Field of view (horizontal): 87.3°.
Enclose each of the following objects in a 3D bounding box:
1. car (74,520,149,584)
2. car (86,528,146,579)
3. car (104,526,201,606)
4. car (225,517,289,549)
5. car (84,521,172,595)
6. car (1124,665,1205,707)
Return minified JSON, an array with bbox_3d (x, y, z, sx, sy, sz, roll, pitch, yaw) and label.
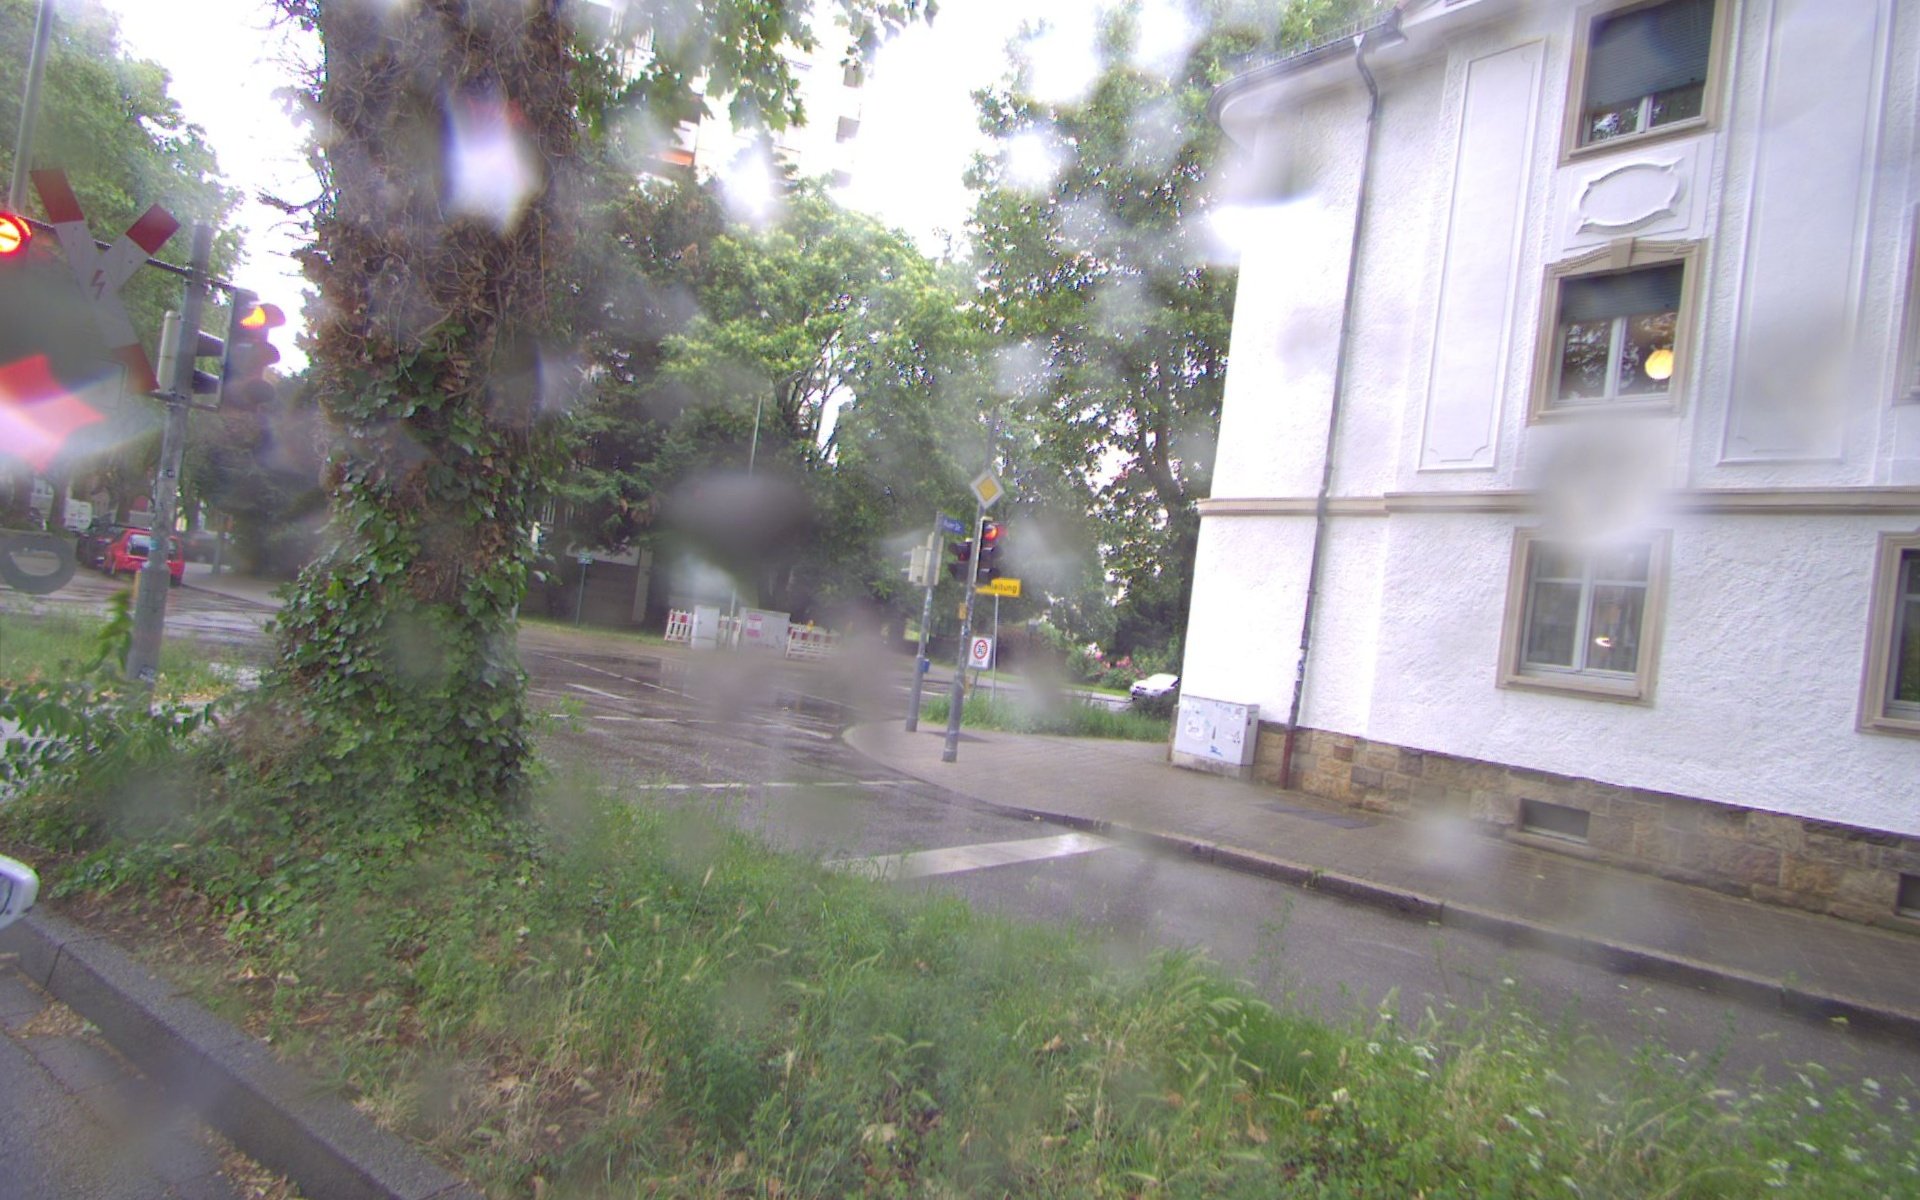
[{"bbox_3d":[-32.902,-1.884,38.979,1.986,2.038,3.953,7,0,-42],"label":"car"},{"bbox_3d":[-40.636,-2.249,48.402,1.986,2.038,3.953,7,0,-42],"label":"car"},{"bbox_3d":[-24.805,-1.071,30.857,1.986,2.038,3.953,7,0,-42],"label":"car"},{"bbox_3d":[-57.147,-5.445,81.808,3.969,2.038,1.689,7,0,-39],"label":"car"},{"bbox_3d":[-27.979,-1.440,33.796,1.986,2.038,3.953,7,0,-42],"label":"car"},{"bbox_3d":[9.305,3.907,45.628,3.630,1.504,1.704,8,0,-43],"label":"car"}]
